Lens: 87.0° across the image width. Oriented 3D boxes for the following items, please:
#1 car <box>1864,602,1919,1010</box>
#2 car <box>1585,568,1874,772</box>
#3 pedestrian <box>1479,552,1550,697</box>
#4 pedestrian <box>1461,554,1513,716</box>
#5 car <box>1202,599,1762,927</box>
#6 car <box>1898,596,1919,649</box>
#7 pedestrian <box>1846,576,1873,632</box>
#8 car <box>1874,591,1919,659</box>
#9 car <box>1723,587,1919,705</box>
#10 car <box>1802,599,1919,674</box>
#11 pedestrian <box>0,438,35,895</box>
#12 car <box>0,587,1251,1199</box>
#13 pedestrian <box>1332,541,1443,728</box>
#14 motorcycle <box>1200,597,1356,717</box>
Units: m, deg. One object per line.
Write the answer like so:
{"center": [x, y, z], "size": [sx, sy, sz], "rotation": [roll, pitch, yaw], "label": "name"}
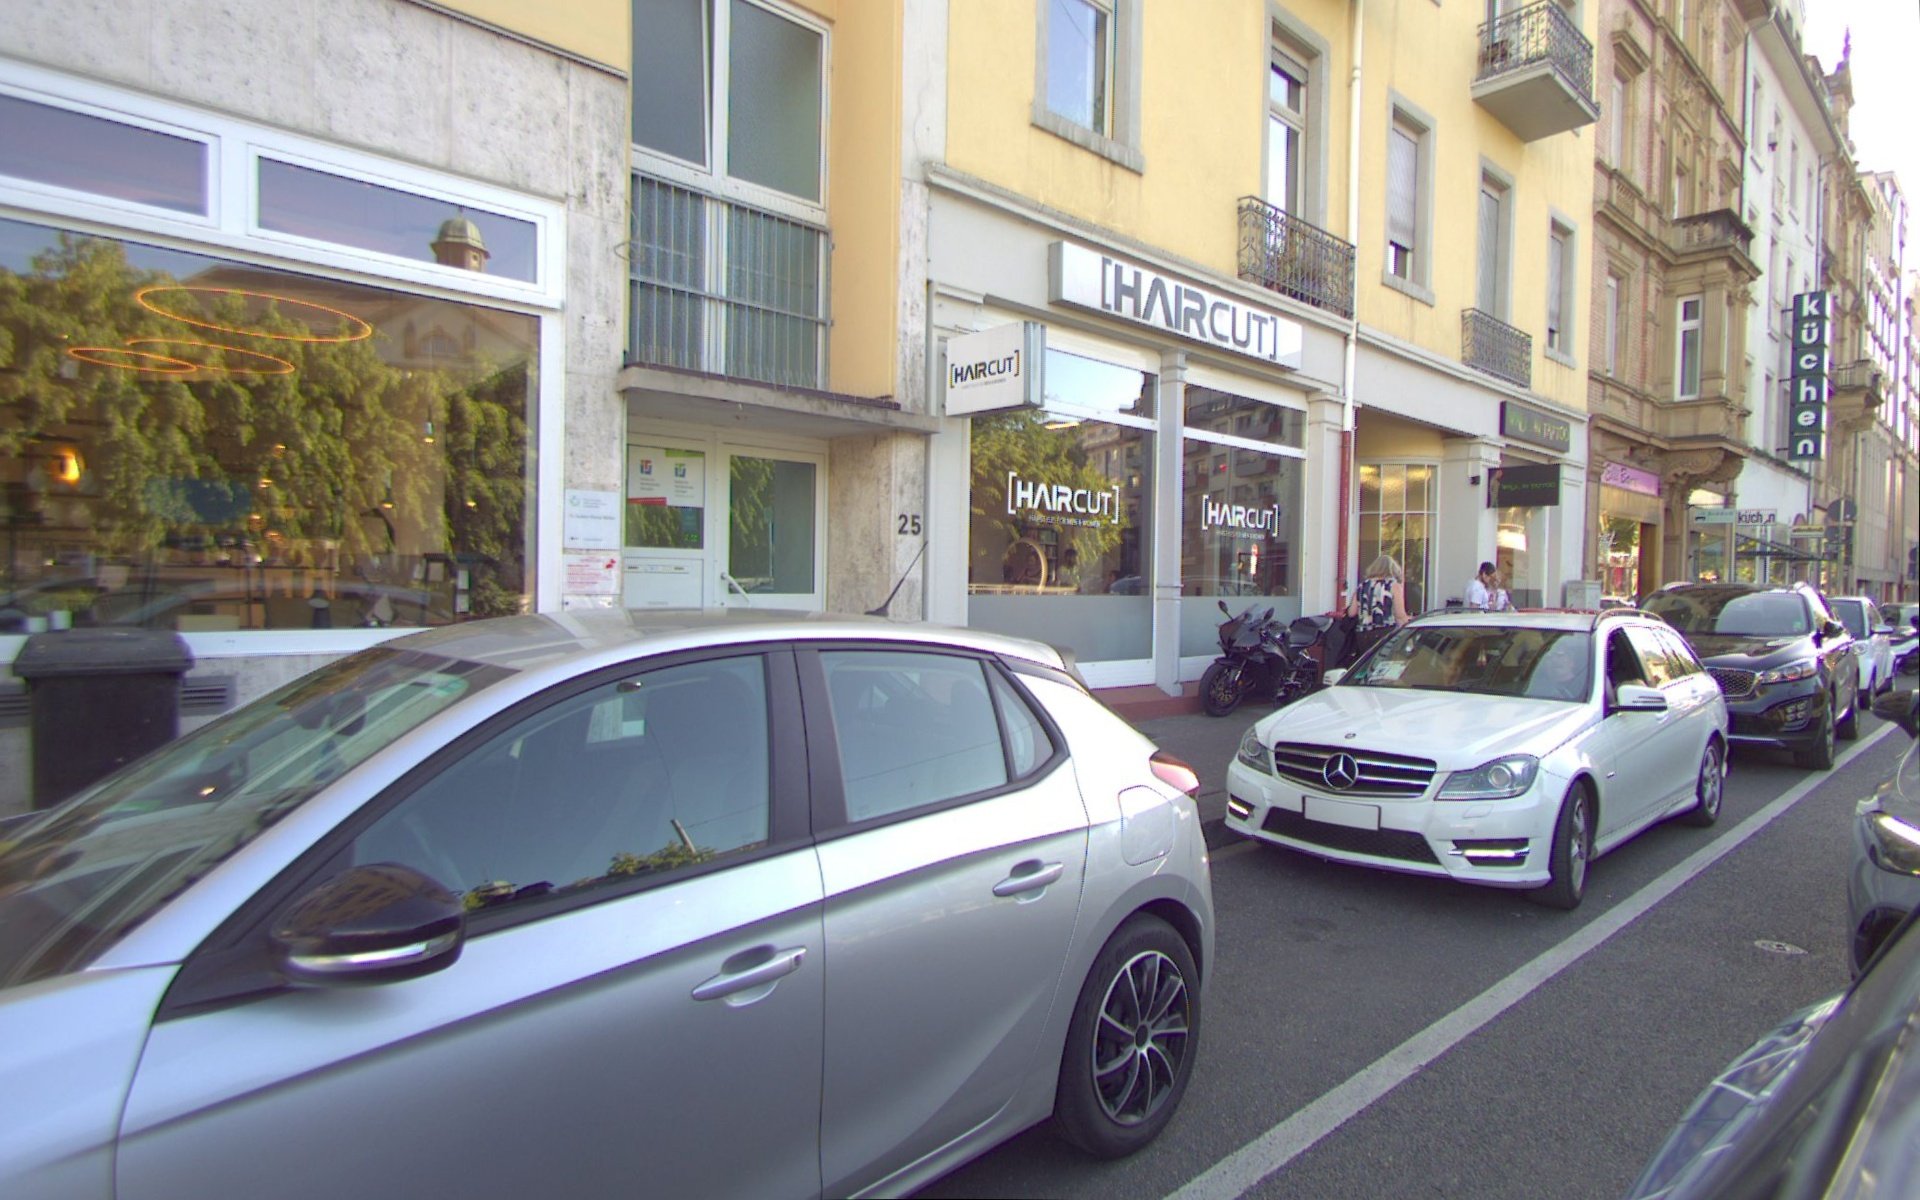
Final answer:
{"center": [5.251, 0.704, 4.235], "size": [3.932, 1.376, 1.800], "rotation": [-1, 1, -42], "label": "car"}
{"center": [7.996, 0.546, 10.365], "size": [4.176, 1.659, 1.799], "rotation": [-1, 1, -45], "label": "car"}
{"center": [7.418, 0.316, 13.548], "size": [0.565, 1.874, 0.664], "rotation": [0, 0, -39], "label": "pedestrian"}
{"center": [6.703, 0.424, 12.867], "size": [0.683, 2.008, 0.373], "rotation": [0, 1, -45], "label": "pedestrian"}
{"center": [3.533, 0.702, 6.443], "size": [4.302, 1.376, 1.703], "rotation": [-1, 1, -41], "label": "car"}
{"center": [26.652, 0.588, 27.203], "size": [3.773, 1.357, 1.800], "rotation": [-1, 1, -42], "label": "car"}
{"center": [30.273, 0.120, 34.060], "size": [0.653, 1.874, 0.574], "rotation": [0, 0, -40], "label": "pedestrian"}
{"center": [22.212, 0.534, 23.074], "size": [4.016, 1.450, 1.657], "rotation": [-1, 0, -42], "label": "car"}
{"center": [13.133, 0.578, 15.335], "size": [4.016, 1.546, 1.800], "rotation": [-1, 0, -42], "label": "car"}
{"center": [18.013, 0.654, 19.829], "size": [4.016, 1.282, 1.800], "rotation": [-1, 1, -42], "label": "car"}
{"center": [-4.135, 0.262, 3.848], "size": [0.560, 1.806, 0.739], "rotation": [1, 0, 18], "label": "pedestrian"}
{"center": [-0.997, 0.696, 2.304], "size": [3.597, 1.445, 1.549], "rotation": [-1, 1, -42], "label": "car"}
{"center": [4.054, 0.296, 9.601], "size": [0.595, 1.674, 0.719], "rotation": [0, 3, -40], "label": "pedestrian"}
{"center": [3.317, 0.544, 10.461], "size": [1.920, 1.091, 0.567], "rotation": [-1, 4, -41], "label": "motorcycle"}
